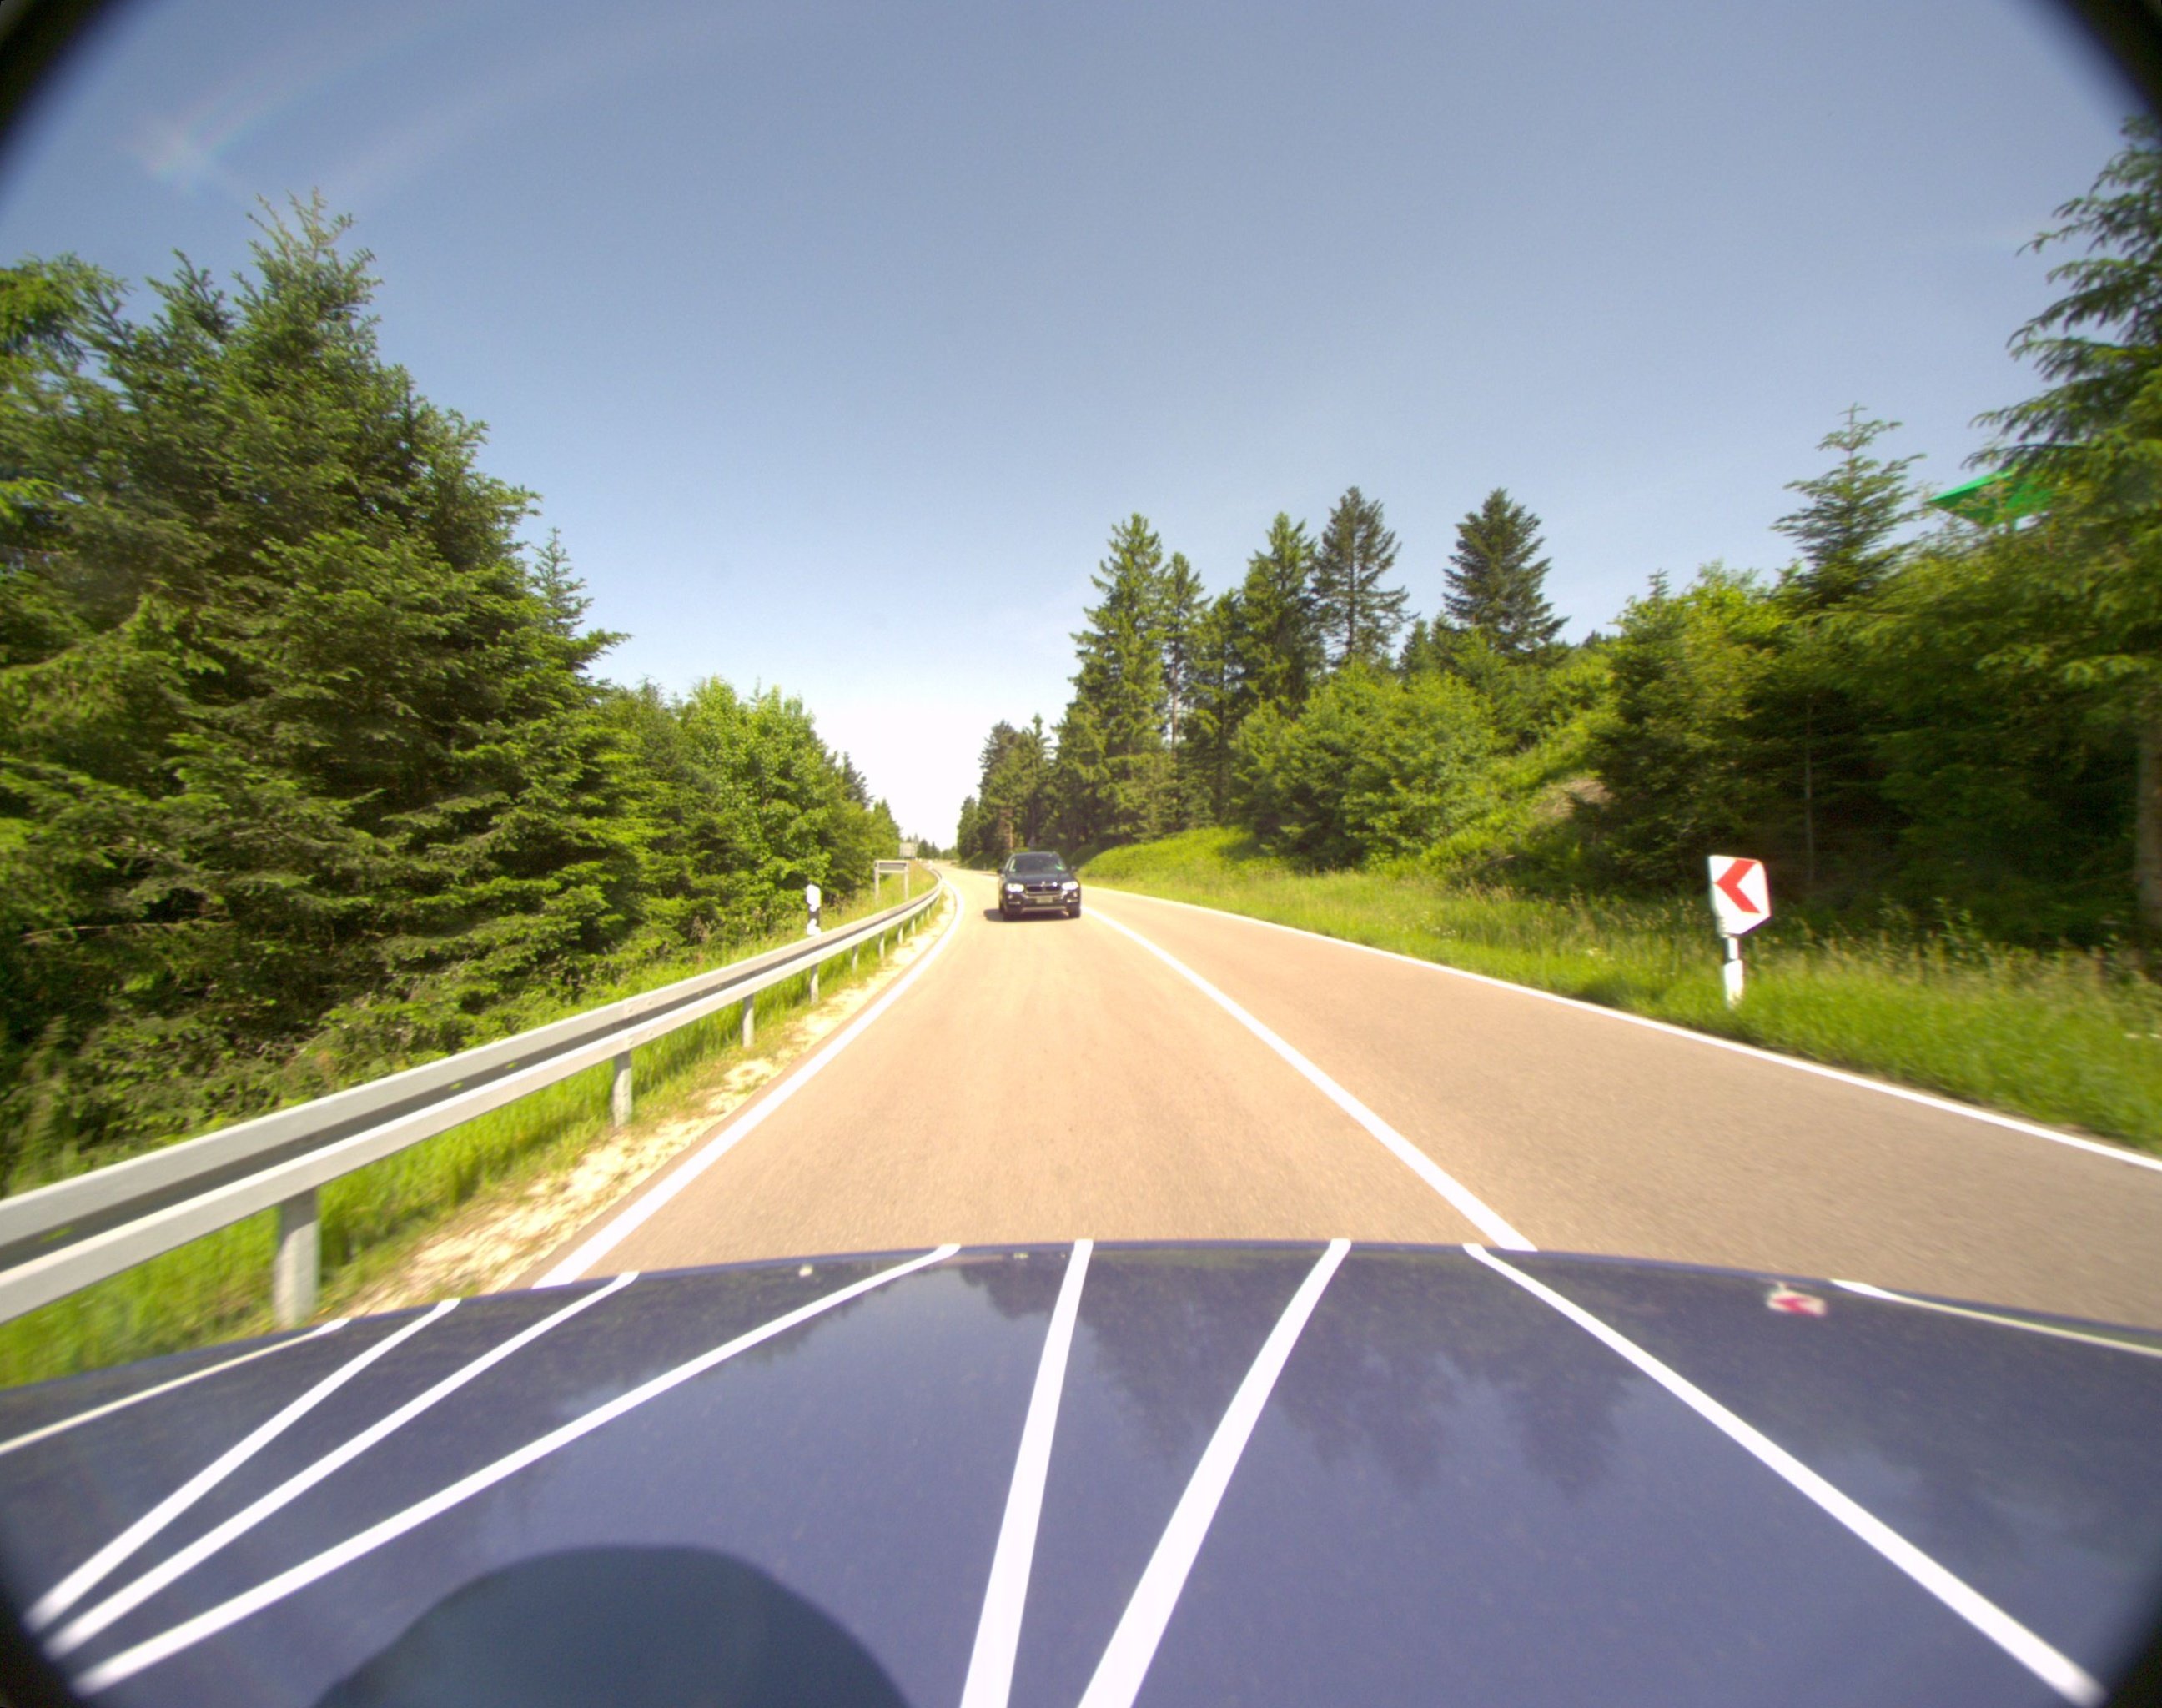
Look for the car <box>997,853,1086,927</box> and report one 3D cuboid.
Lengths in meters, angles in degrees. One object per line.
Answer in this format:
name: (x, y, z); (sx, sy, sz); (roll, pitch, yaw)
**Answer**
car: (-1.252, 0.859, 20.991); (2.000, 1.676, 5.932); (-2, 0, -7)
